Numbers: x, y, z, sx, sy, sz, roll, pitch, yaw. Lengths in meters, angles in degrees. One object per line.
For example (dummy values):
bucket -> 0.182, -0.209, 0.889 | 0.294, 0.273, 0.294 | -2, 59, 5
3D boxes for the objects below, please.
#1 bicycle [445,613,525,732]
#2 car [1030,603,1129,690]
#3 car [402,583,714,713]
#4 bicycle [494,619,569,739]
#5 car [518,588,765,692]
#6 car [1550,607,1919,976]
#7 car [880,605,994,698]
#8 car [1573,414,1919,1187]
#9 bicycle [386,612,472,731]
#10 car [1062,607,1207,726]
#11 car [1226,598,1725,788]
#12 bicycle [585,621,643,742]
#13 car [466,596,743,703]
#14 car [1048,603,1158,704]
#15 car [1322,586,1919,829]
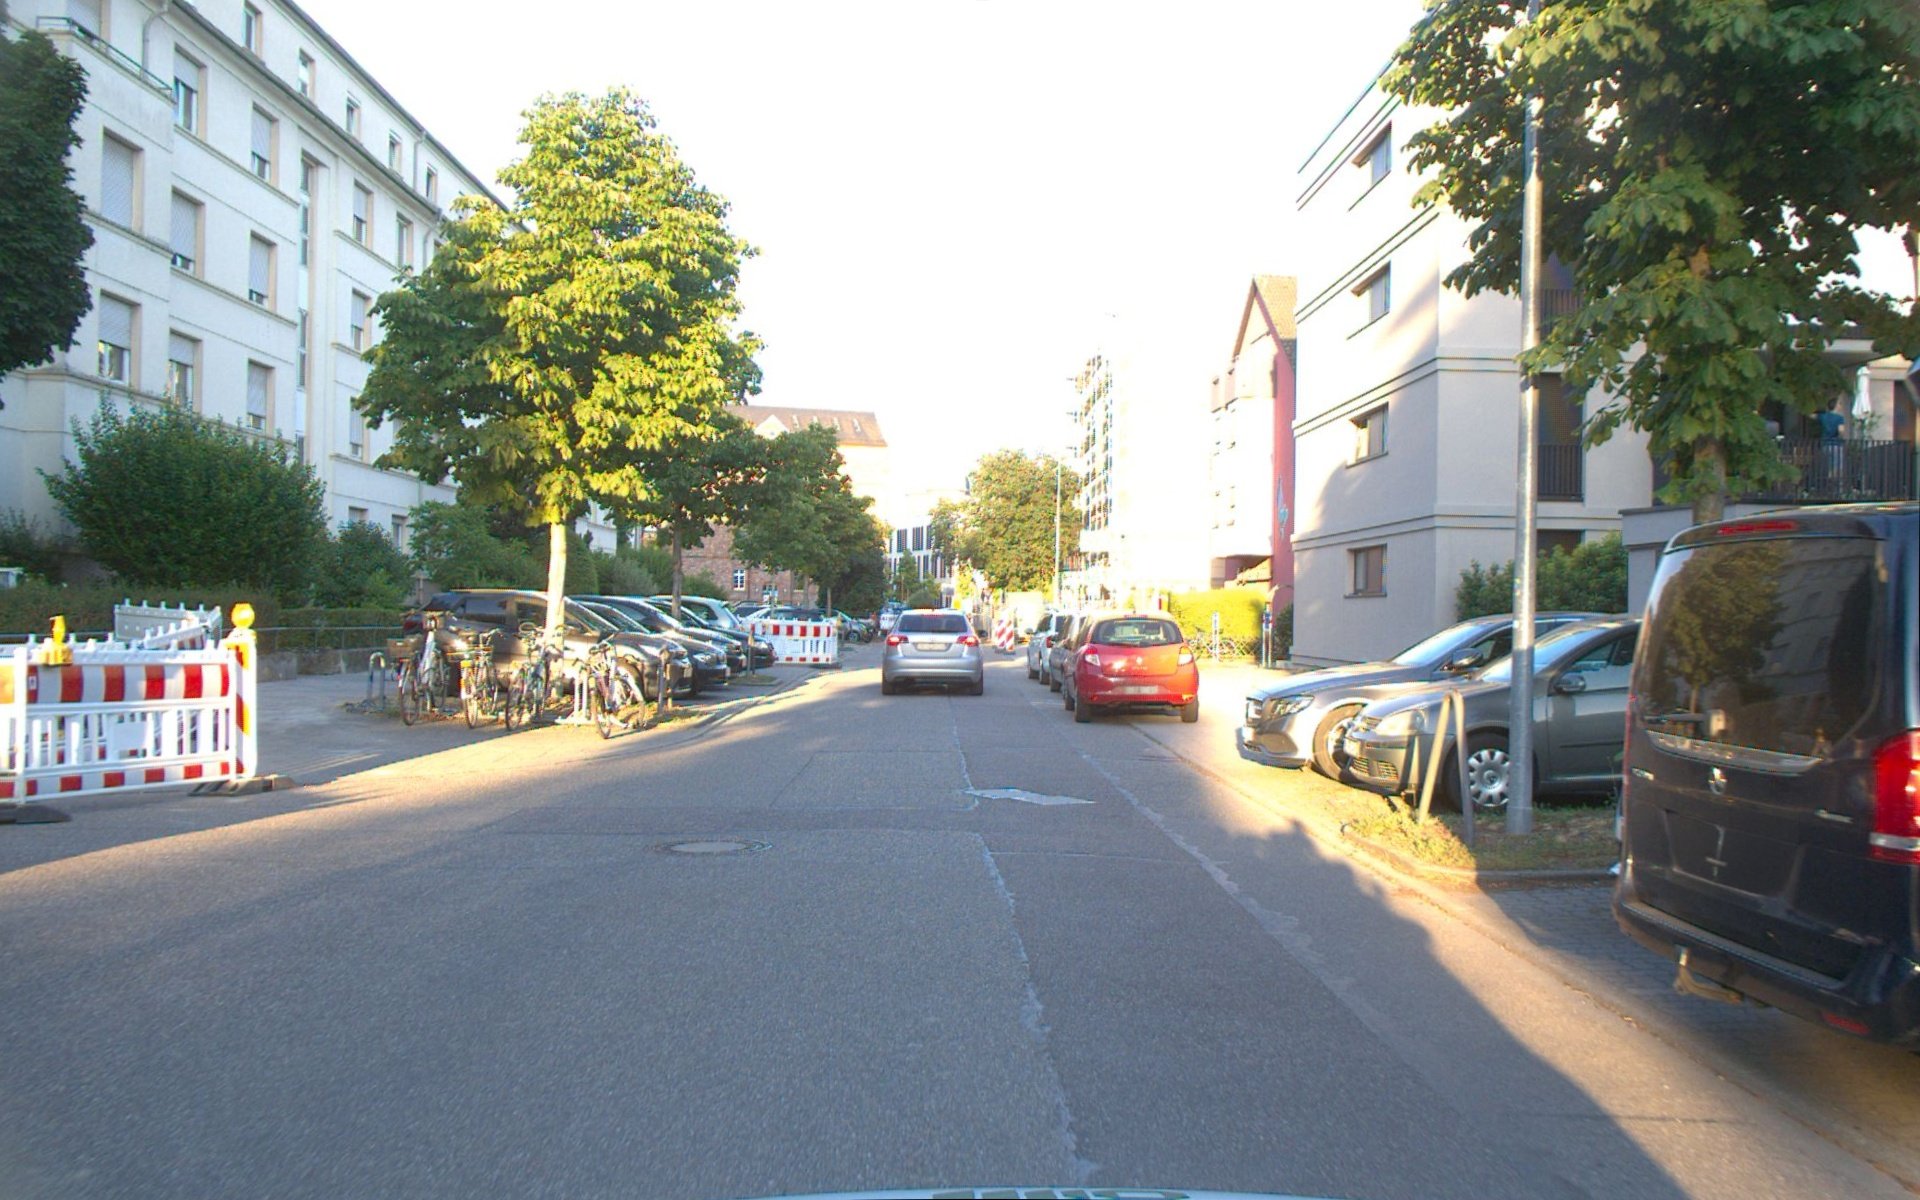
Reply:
bicycle -> -5.354, 0.788, 18.721 | 0.398, 1.249, 1.986 | 1, 0, -3
car -> 2.396, 0.903, 33.894 | 1.771, 1.641, 3.581 | 1, 0, 1
car -> -5.564, 0.651, 23.318 | 3.907, 1.654, 1.999 | 2, 0, -3
bicycle -> -4.819, 0.852, 18.689 | 0.398, 1.249, 1.986 | 1, 0, -3
car -> -5.421, 0.673, 28.533 | 3.907, 1.633, 1.872 | 2, 0, -3
car -> 5.226, 0.854, 8.105 | 3.910, 1.529, 1.998 | 2, 0, -6
car -> -0.463, 0.863, 28.905 | 1.772, 1.514, 3.996 | 0, -1, -4
car -> 4.714, 0.590, 5.592 | 4.466, 2.058, 2.100 | 2, 0, -3
bicycle -> -6.001, 0.777, 18.766 | 0.398, 1.249, 1.986 | 1, 0, -3
car -> 2.407, 0.880, 23.527 | 1.694, 1.509, 3.557 | 1, 0, 1
car -> 4.694, 0.798, 15.388 | 4.069, 1.599, 1.795 | -1, 0, -6
bicycle -> -3.881, 0.887, 18.648 | 0.398, 1.249, 1.985 | 1, 0, -6
car -> -5.478, 0.749, 25.910 | 3.907, 1.506, 1.999 | 2, 0, -3
car -> 2.454, 0.885, 29.012 | 1.629, 1.601, 3.441 | 1, 0, 1
car -> 5.031, 0.788, 12.935 | 3.863, 1.678, 1.974 | 2, 0, -6
